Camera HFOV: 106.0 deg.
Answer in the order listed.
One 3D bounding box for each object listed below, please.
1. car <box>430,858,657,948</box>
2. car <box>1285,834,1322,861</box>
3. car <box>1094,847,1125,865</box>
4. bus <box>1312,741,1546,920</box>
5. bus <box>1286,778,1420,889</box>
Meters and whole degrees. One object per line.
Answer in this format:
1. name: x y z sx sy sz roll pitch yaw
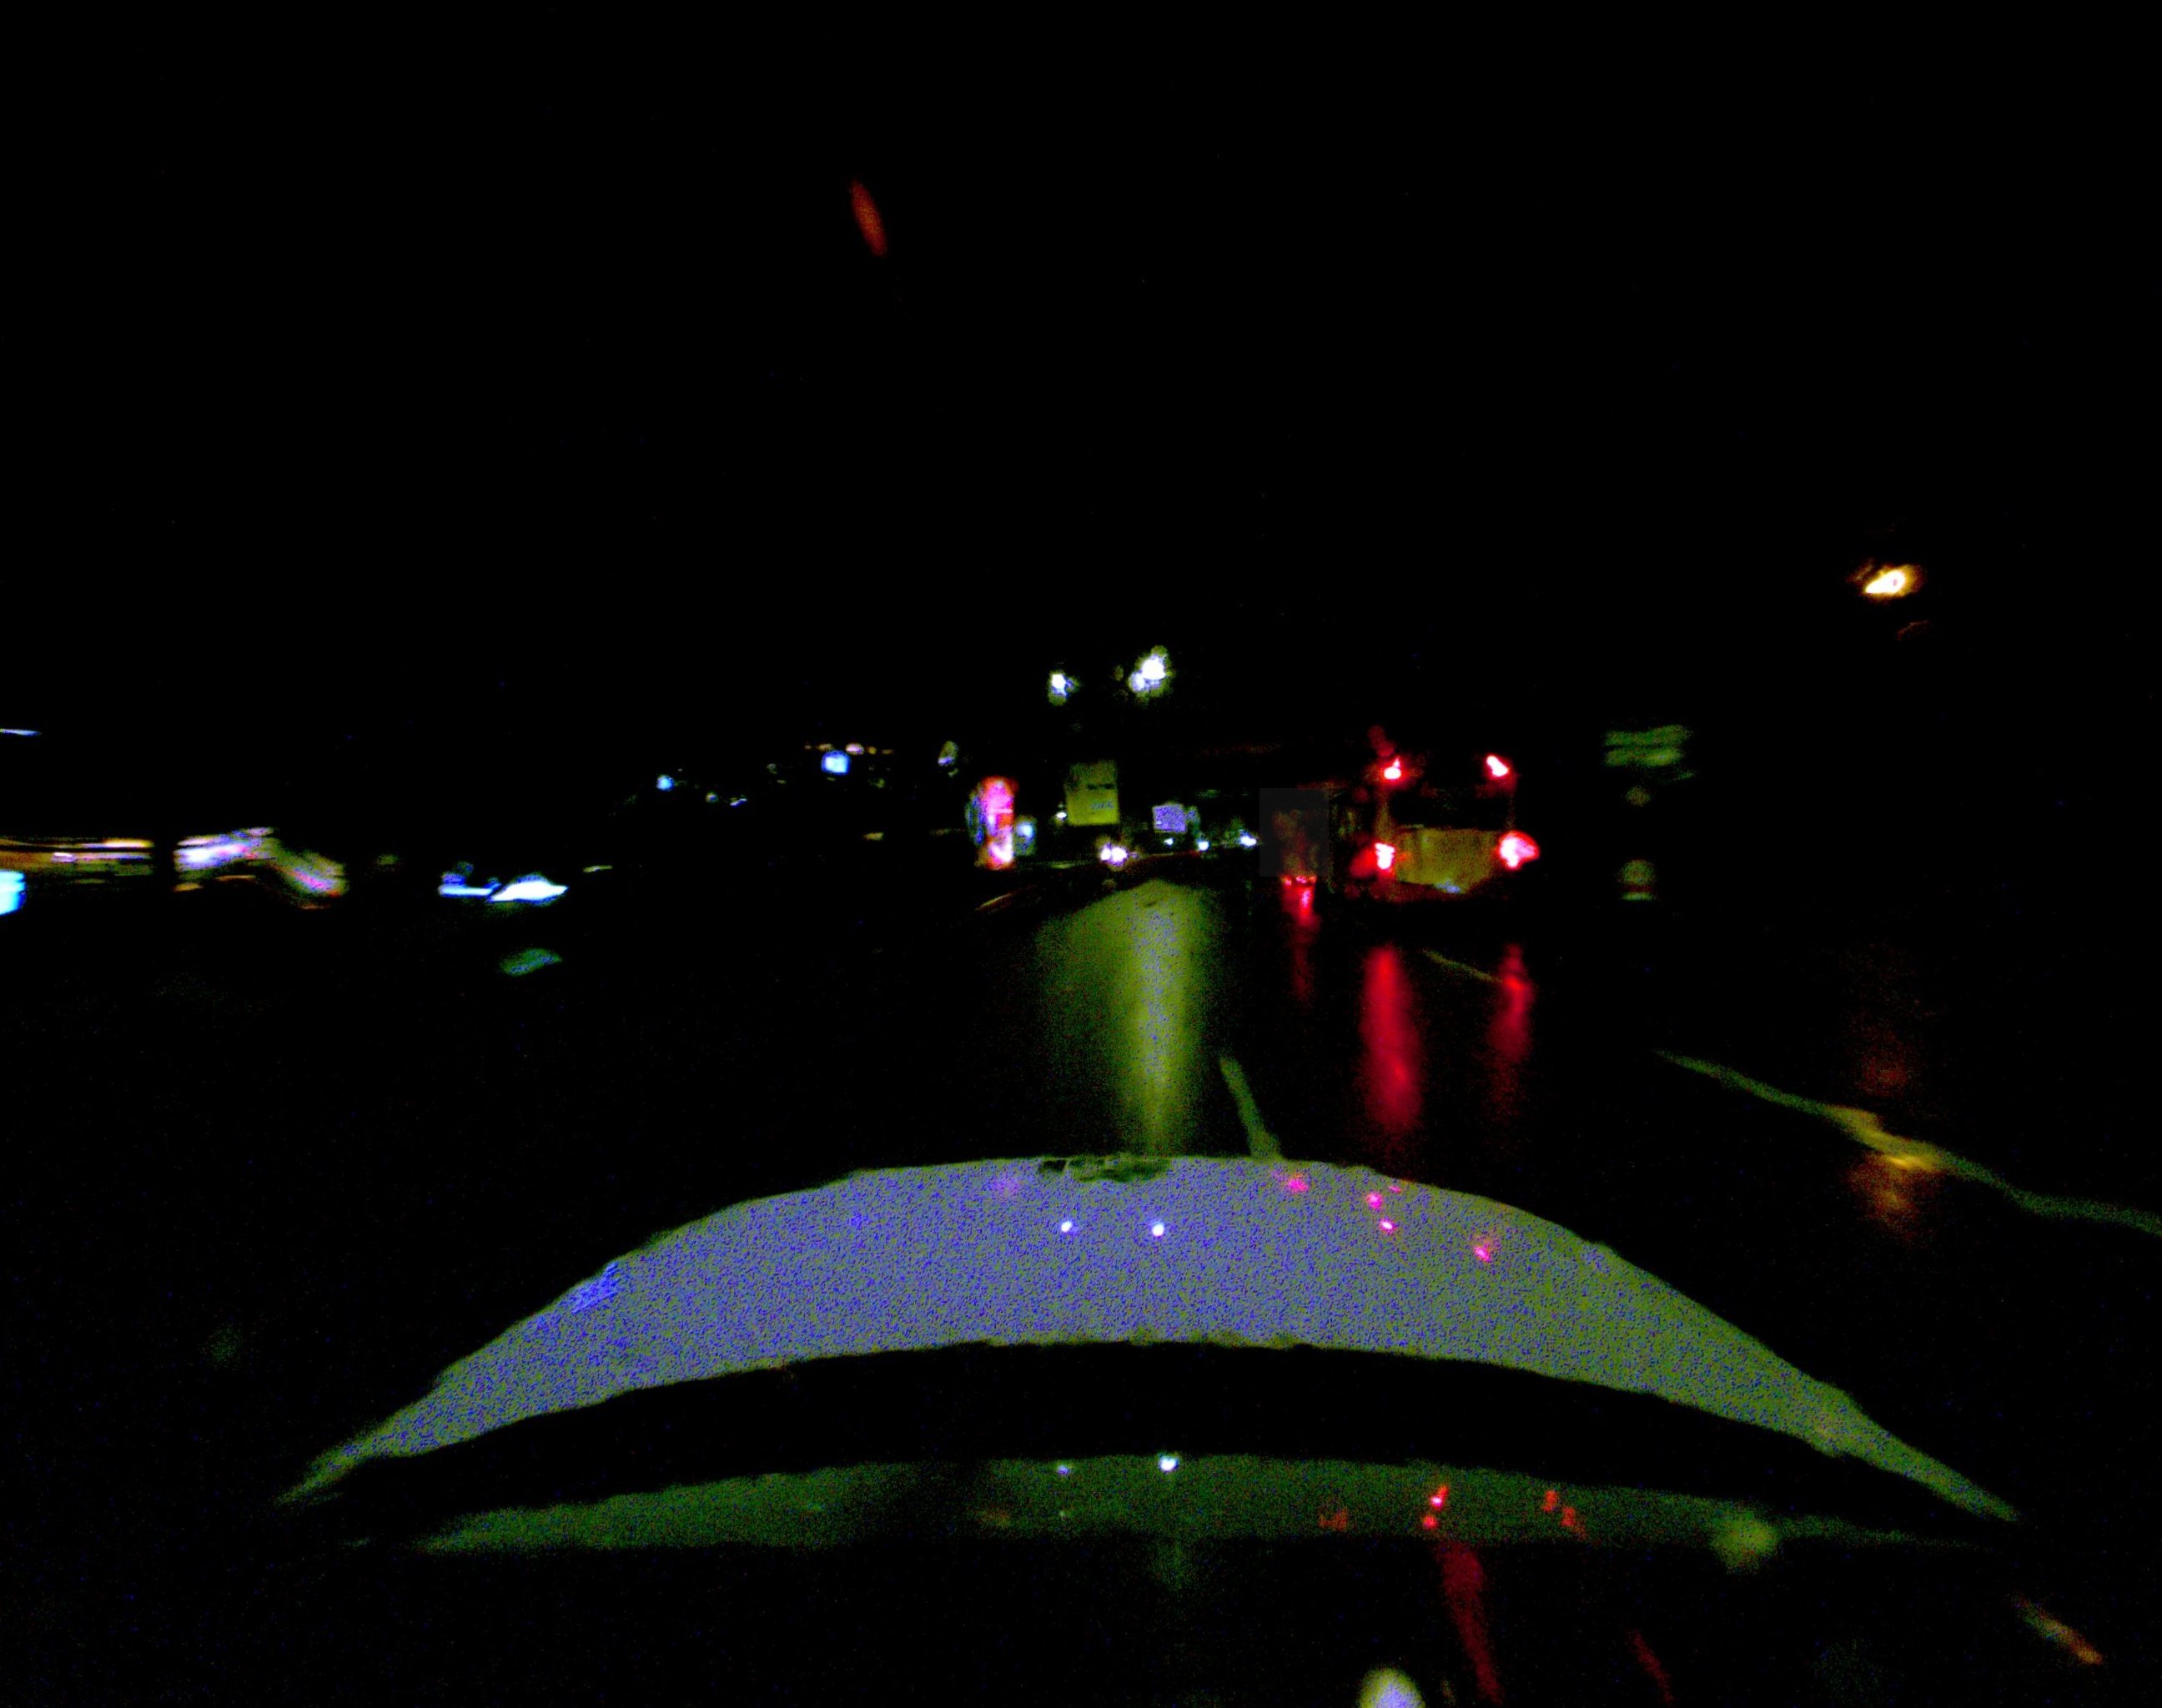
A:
1. car: -11.244 0.937 17.444 1.985 1.594 4.004 -2 0 3
2. car: 14.589 -0.430 53.351 1.772 1.684 4.022 -1 1 23
3. car: 2.502 0.173 69.791 1.554 1.427 3.971 -1 0 19
4. bus: 7.575 -0.496 19.305 3.025 3.212 9.075 0 1 9
5. bus: 9.073 -0.663 28.290 3.025 3.212 9.075 0 1 9
